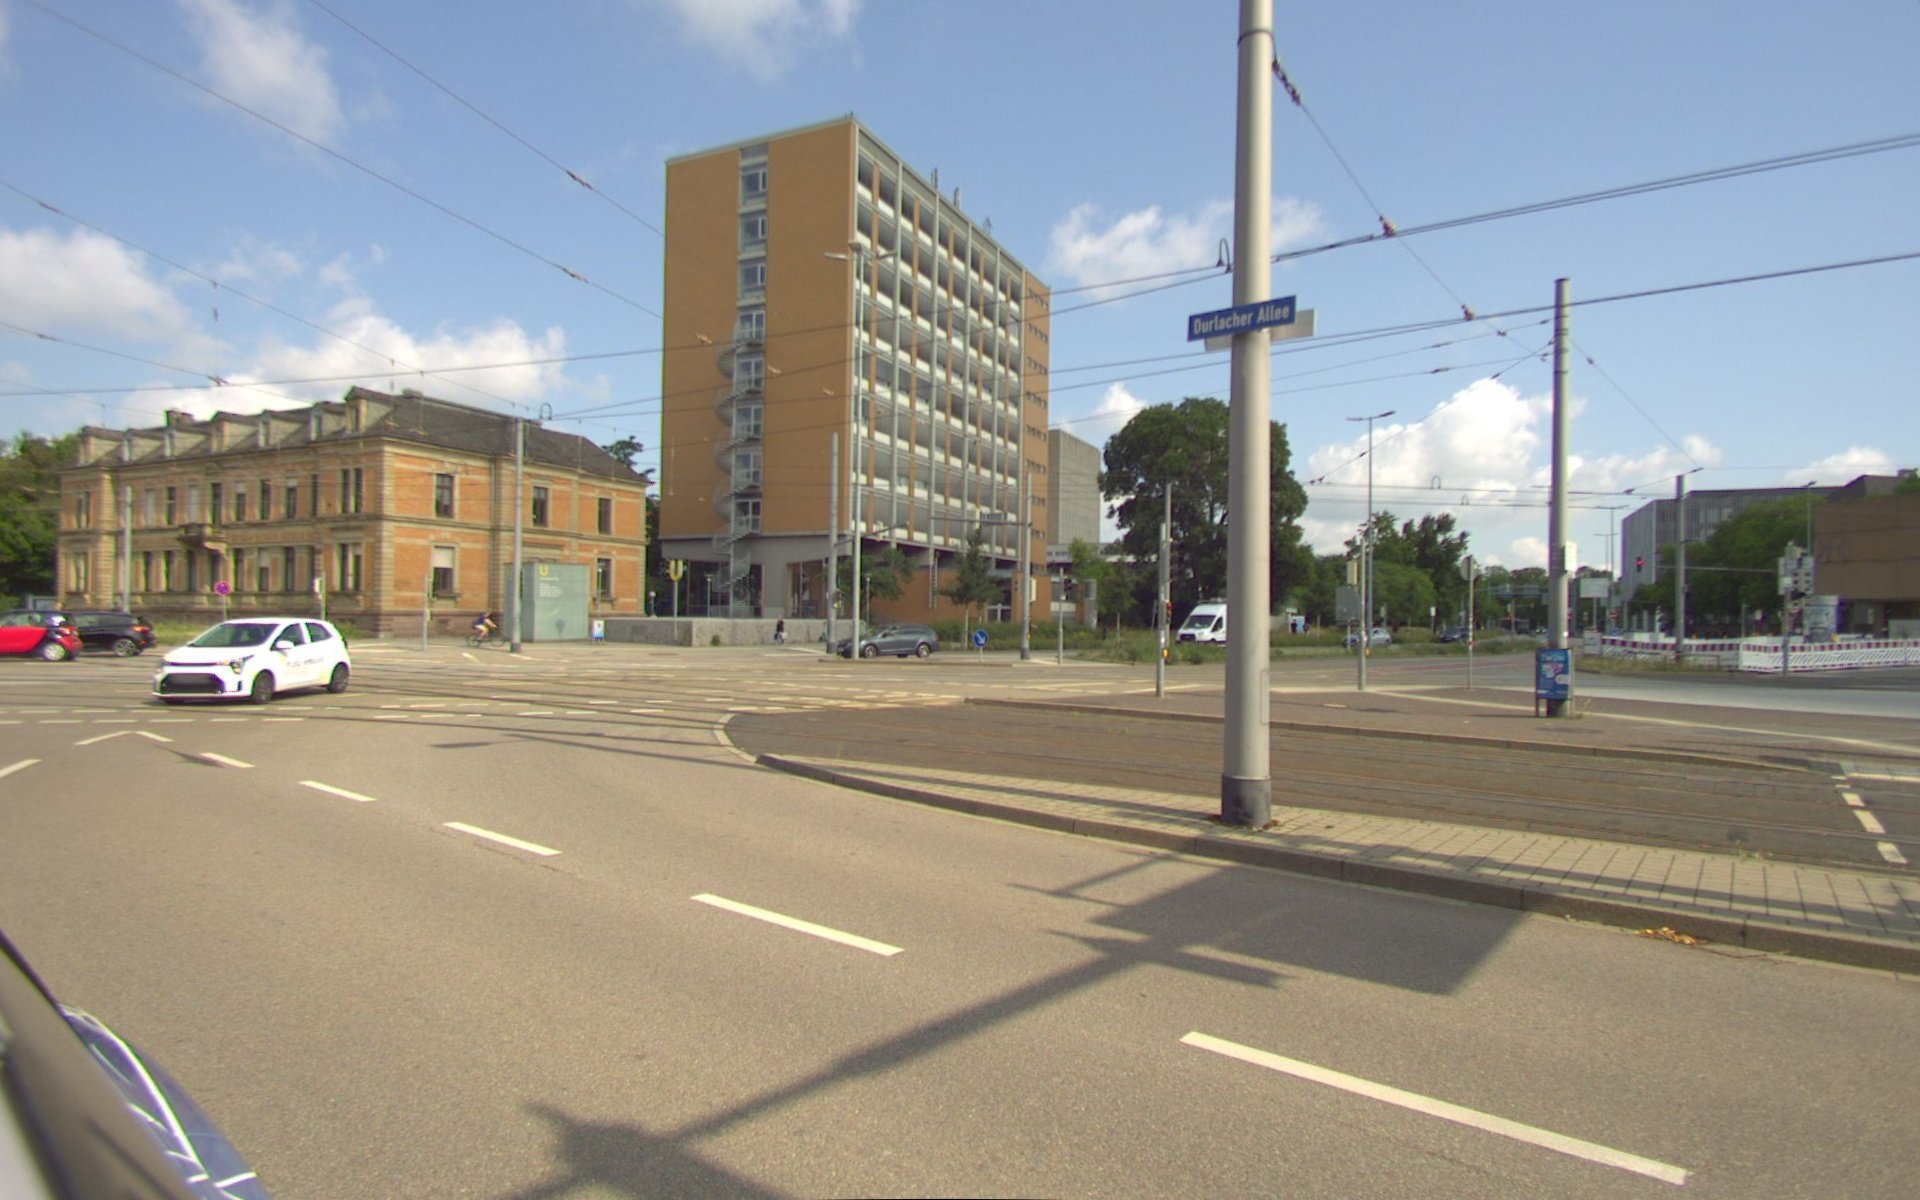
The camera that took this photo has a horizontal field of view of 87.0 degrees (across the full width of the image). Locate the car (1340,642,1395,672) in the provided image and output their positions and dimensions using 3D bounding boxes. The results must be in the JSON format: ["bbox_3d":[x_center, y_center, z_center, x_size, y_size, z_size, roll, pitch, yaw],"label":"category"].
[{"bbox_3d":[29.191,4.061,72.491,4.076,1.785,2.003,0,2,-41],"label":"car"}]

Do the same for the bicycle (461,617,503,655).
[{"bbox_3d":[-22.651,1.714,47.990,1.611,1.791,0.733,1,-2,-9],"label":"bicycle"}]

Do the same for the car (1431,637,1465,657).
[{"bbox_3d":[45.084,4.355,93.502,1.870,1.604,3.614,2,2,43],"label":"car"}]

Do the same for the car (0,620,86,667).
[{"bbox_3d":[-27.312,1.252,29.232,2.960,1.223,1.614,-1,1,-35],"label":"car"}]

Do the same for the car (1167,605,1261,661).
[{"bbox_3d":[13.958,1.809,55.356,2.486,2.901,6.063,-1,-2,42],"label":"car"}]

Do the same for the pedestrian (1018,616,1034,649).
[{"bbox_3d":[4.214,2.080,64.425,0.795,2.028,0.726,2,5,-8],"label":"pedestrian"}]

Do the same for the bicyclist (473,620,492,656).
[{"bbox_3d":[-22.647,1.786,48.021,0.646,1.683,0.575,1,-2,-8],"label":"bicyclist"}]

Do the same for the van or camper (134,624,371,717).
[{"bbox_3d":[-12.788,1.209,18.634,1.605,1.487,4.000,-1,-1,0],"label":"van or camper"}]

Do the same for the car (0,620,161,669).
[{"bbox_3d":[-28.825,1.420,33.119,3.931,1.465,1.720,0,0,-29],"label":"car"}]

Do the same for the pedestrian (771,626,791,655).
[{"bbox_3d":[-9.773,2.200,55.294,0.753,1.600,0.774,2,-2,-40],"label":"pedestrian"}]

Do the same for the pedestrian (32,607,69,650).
[{"bbox_3d":[-37.596,1.171,41.851,0.852,1.750,0.779,0,-2,19],"label":"pedestrian"}]

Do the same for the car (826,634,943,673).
[{"bbox_3d":[-3.094,2.176,41.715,4.472,1.290,2.004,0,2,-39],"label":"car"}]
